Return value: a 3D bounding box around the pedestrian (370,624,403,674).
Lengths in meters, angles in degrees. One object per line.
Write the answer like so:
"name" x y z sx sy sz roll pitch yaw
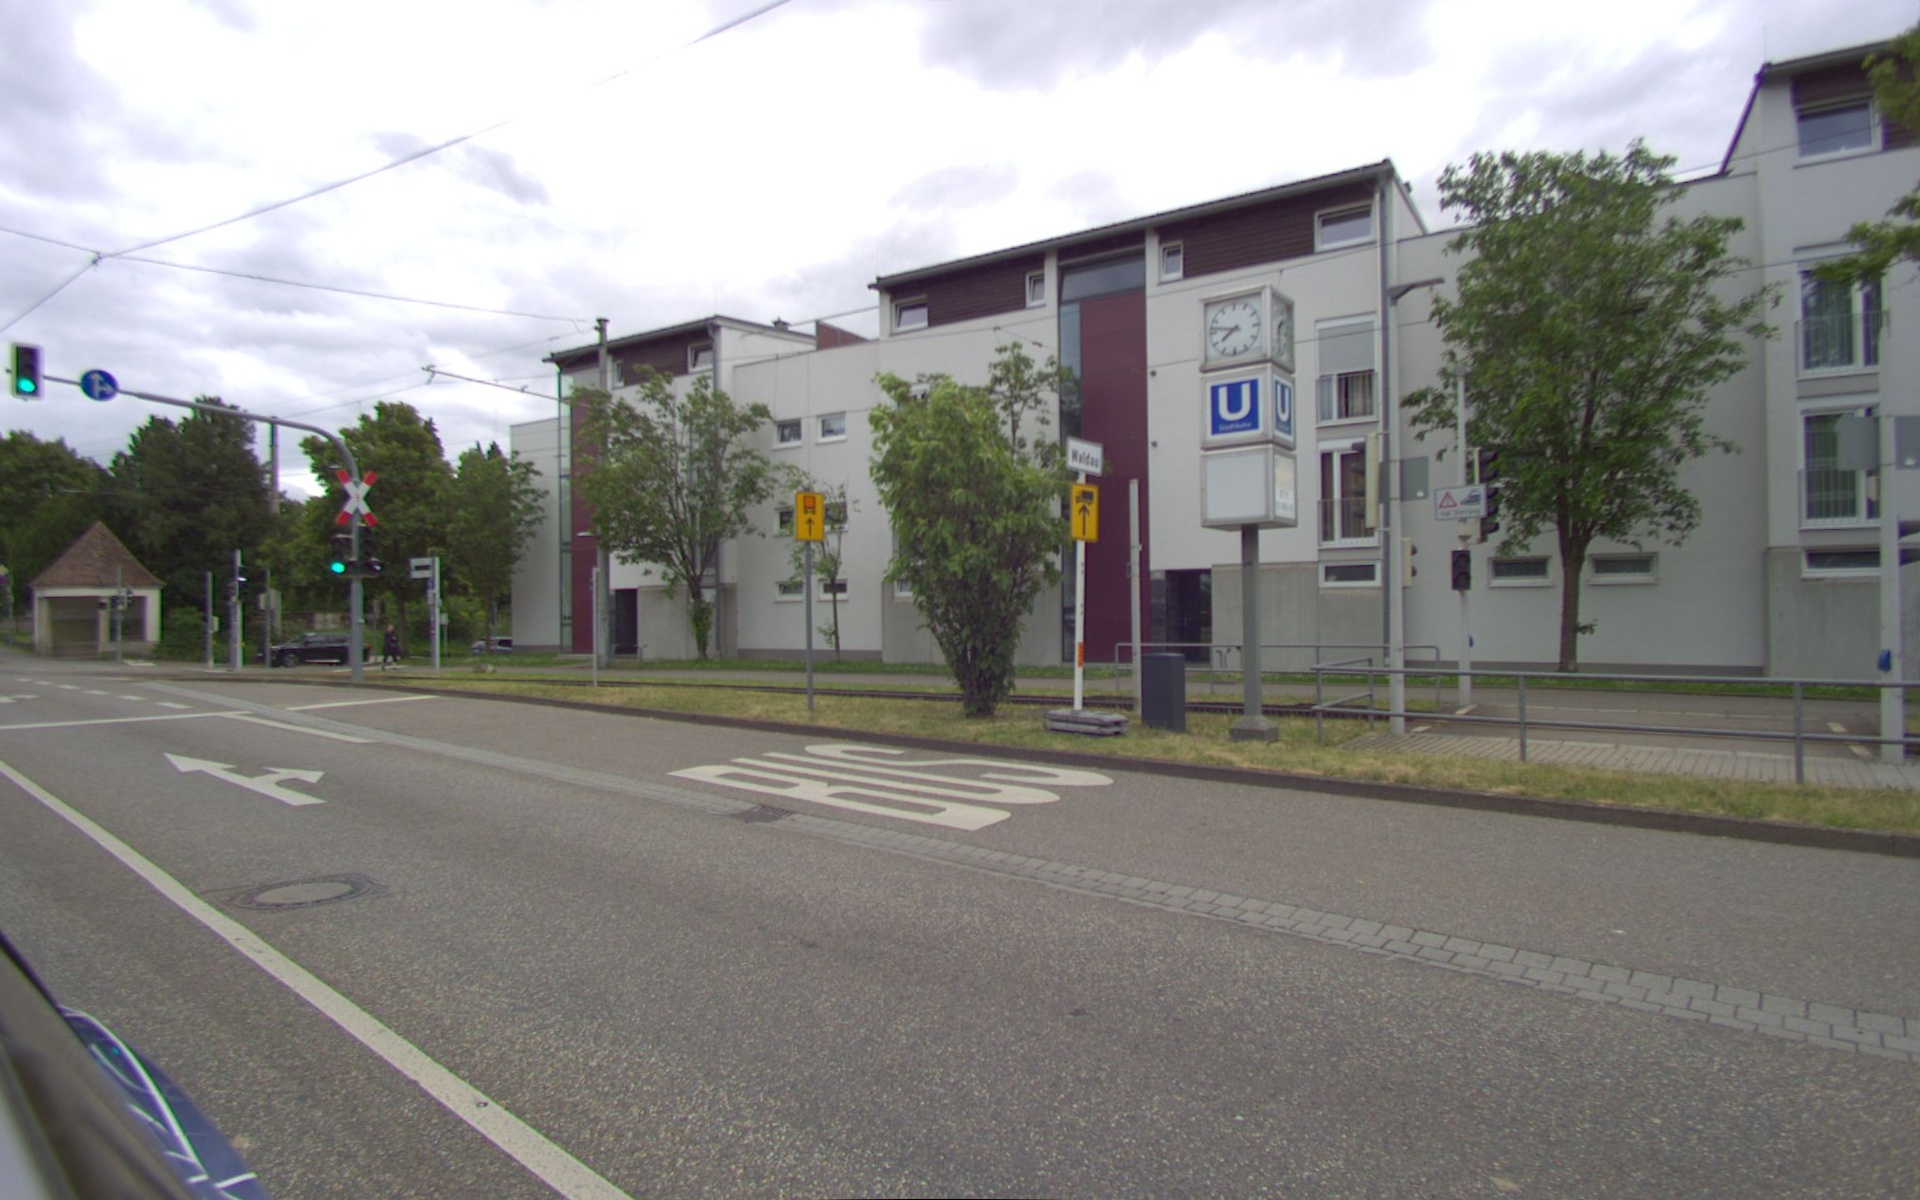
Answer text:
"pedestrian" -19.278 1.660 34.018 0.817 1.657 0.669 -4 -4 35

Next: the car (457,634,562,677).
"car" -22.821 2.861 51.393 1.995 2.029 4.418 -1 -5 34

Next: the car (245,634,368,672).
"car" -30.962 2.540 48.068 1.960 1.682 4.438 -1 -4 33
